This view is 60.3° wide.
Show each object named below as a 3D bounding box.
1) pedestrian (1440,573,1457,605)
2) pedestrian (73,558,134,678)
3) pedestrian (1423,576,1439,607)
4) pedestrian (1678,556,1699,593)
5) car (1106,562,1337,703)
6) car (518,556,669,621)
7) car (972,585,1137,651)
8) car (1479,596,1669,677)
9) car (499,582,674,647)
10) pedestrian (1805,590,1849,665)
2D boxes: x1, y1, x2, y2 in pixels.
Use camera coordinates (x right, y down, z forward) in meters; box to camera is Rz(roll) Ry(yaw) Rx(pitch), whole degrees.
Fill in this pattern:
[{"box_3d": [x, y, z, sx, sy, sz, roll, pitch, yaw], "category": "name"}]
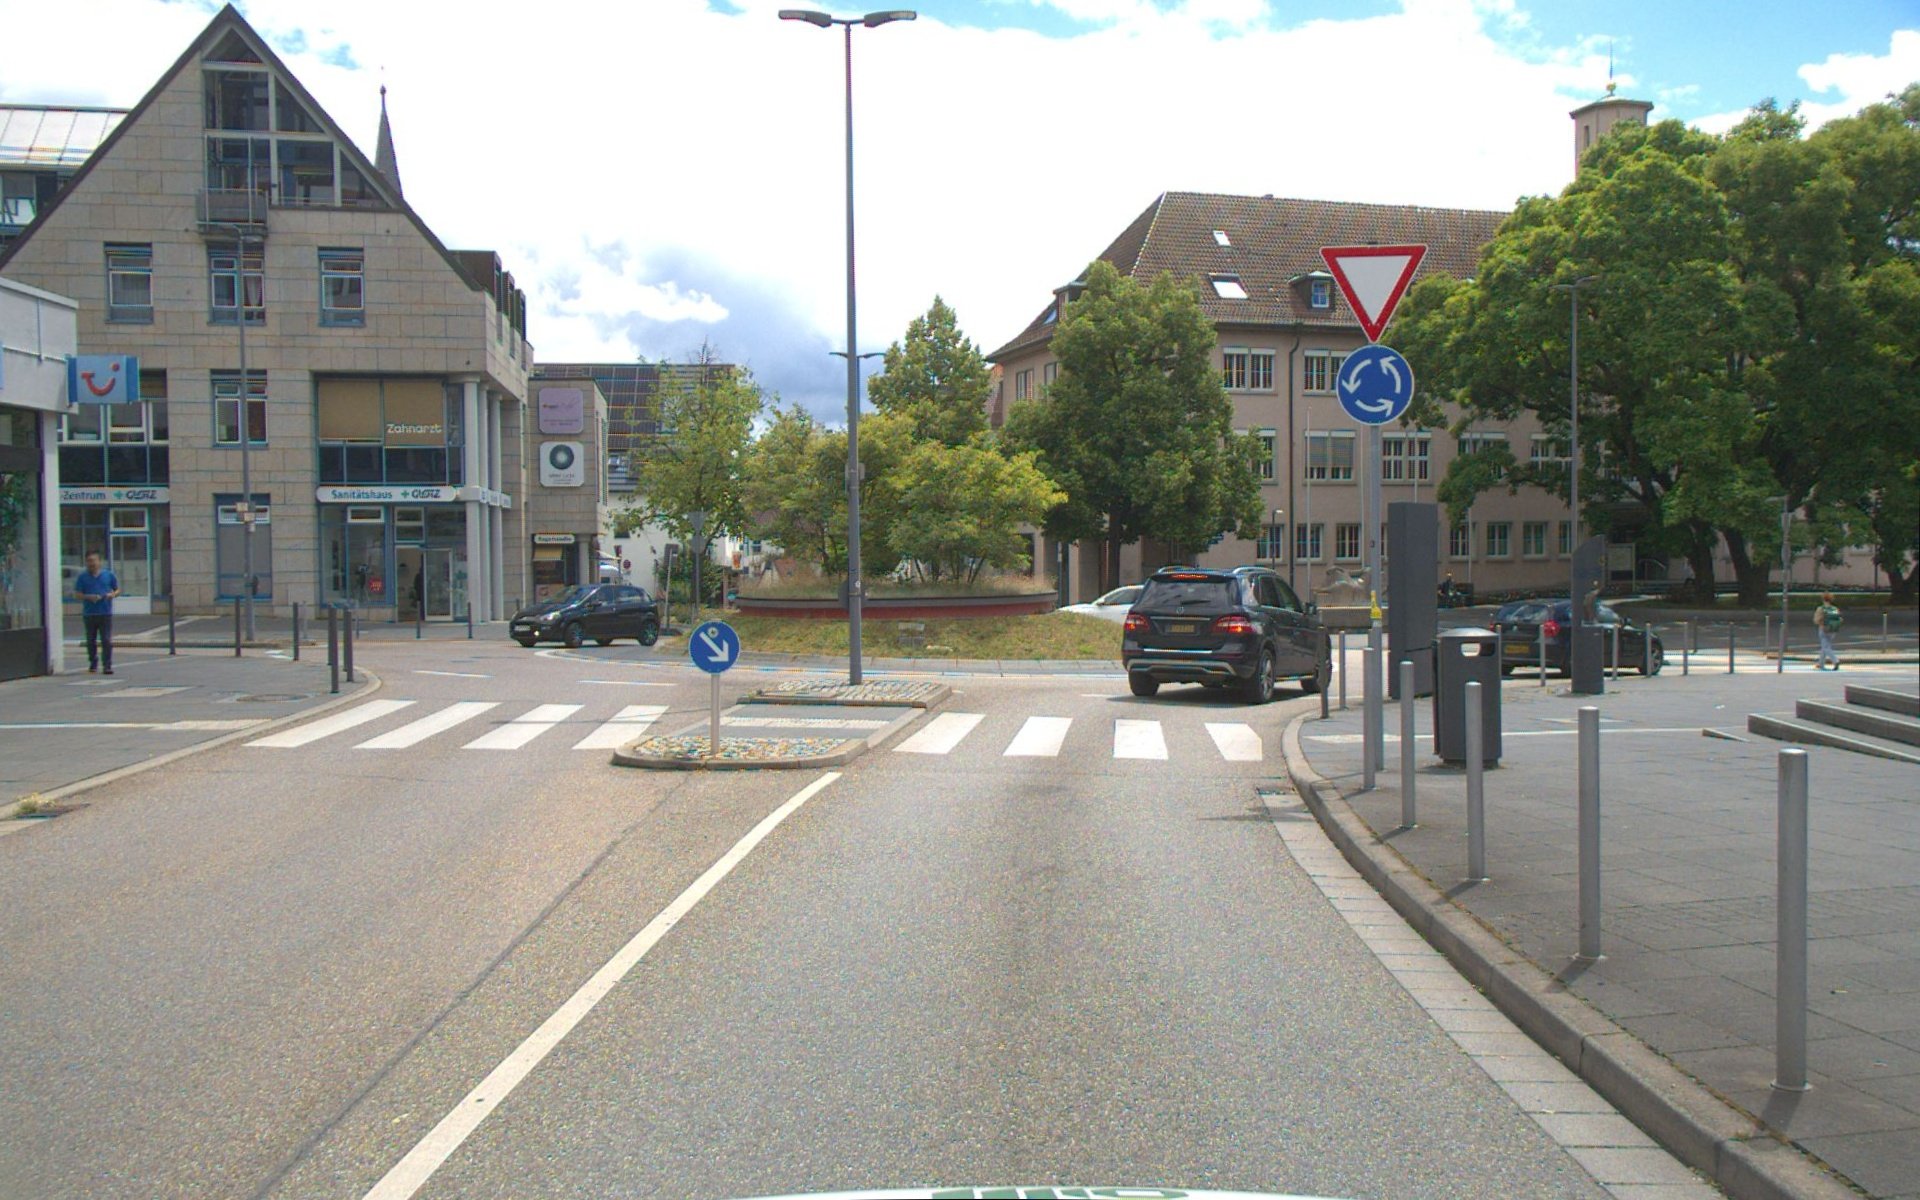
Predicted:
[{"box_3d": [19.318, -0.433, 65.363, 0.478, 1.243, 0.579, 1, 1, 32], "category": "pedestrian"}, {"box_3d": [-11.864, 0.238, 22.914, 0.556, 1.631, 0.605, 0, 1, -6], "category": "pedestrian"}, {"box_3d": [18.505, -0.334, 64.975, 0.478, 1.203, 0.579, 1, 1, 32], "category": "pedestrian"}, {"box_3d": [30.142, -1.060, 68.415, 0.683, 1.518, 0.815, 1, 1, 19], "category": "pedestrian"}, {"box_3d": [3.804, 0.353, 23.366, 1.988, 1.757, 4.429, 1, 2, 27], "category": "car"}, {"box_3d": [-16.119, -0.456, 72.858, 6.203, 2.605, 2.189, 1, -3, -25], "category": "car"}, {"box_3d": [2.565, 0.476, 44.607, 4.164, 1.604, 1.851, -2, 0, 12], "category": "car"}, {"box_3d": [11.650, 0.652, 31.315, 3.794, 1.407, 1.593, 0, 1, -37], "category": "car"}, {"box_3d": [-8.749, 0.377, 39.105, 1.667, 1.444, 4.109, -1, -2, 31], "category": "car"}, {"box_3d": [18.575, 0.574, 35.437, 0.539, 1.540, 0.788, -1, 2, 1], "category": "pedestrian"}]
